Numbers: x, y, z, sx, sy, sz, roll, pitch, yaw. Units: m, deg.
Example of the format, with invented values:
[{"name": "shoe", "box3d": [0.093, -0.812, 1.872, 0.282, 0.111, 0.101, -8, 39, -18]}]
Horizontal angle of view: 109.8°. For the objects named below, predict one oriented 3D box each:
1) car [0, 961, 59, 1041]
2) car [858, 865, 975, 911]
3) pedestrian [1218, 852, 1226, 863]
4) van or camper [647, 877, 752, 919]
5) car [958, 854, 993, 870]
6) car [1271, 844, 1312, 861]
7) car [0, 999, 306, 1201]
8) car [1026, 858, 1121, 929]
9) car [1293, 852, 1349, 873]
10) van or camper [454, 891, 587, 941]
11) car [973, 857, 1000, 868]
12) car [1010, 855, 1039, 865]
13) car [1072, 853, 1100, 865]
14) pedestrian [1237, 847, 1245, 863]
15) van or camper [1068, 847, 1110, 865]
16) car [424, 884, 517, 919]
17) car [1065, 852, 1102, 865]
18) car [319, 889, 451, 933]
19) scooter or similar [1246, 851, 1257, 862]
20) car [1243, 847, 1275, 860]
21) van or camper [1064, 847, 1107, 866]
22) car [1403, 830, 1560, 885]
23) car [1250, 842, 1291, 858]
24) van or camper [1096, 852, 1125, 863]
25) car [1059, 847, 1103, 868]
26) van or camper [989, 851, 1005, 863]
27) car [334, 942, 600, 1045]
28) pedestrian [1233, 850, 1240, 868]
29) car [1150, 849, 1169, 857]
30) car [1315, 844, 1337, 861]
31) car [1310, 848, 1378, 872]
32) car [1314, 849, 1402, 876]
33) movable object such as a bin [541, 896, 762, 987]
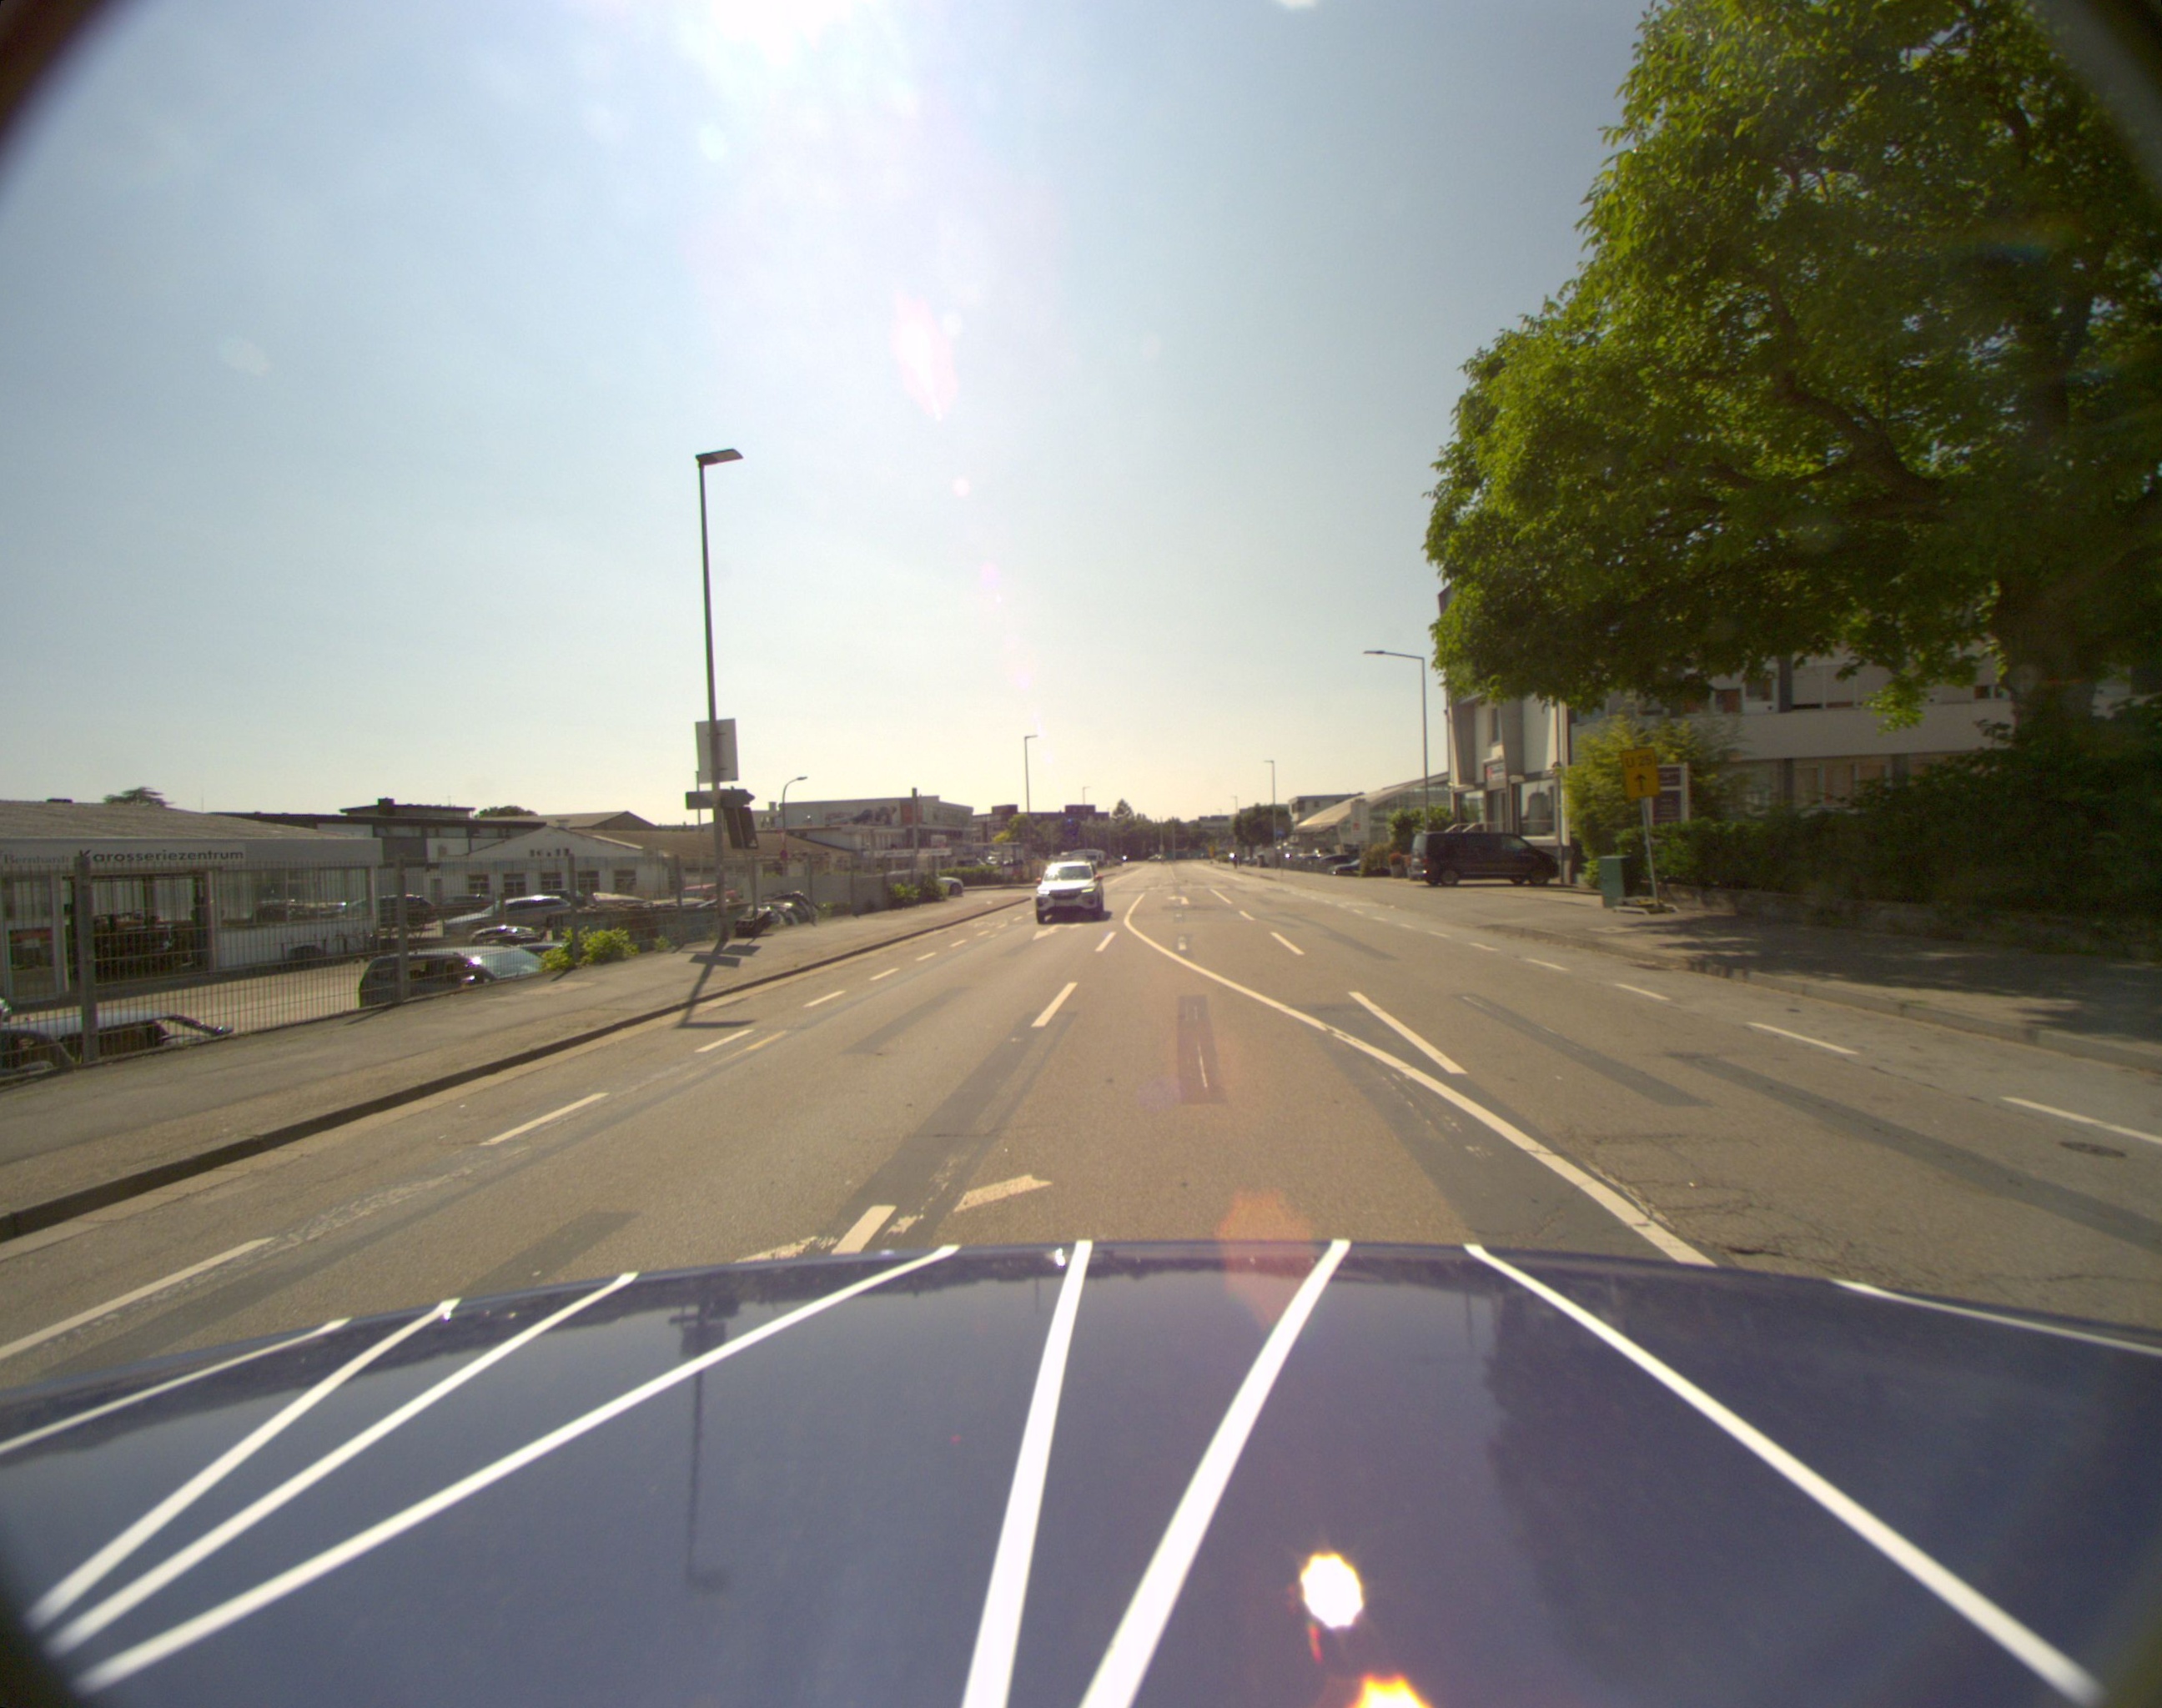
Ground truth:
[{"name": "car", "box3d": [-26.486, 3.472, 17.229, 3.996, 1.653, 2.000, -1, 3, 4]}, {"name": "car", "box3d": [-6.755, 1.390, 31.689, 1.953, 1.351, 4.504, -6, 0, 36]}, {"name": "pedestrian", "box3d": [22.822, 0.561, 122.936, 0.995, 1.676, 0.800, -2, 1, 18]}, {"name": "van or camper", "box3d": [-16.343, 1.851, 32.840, 1.998, 1.343, 4.230, -8, -1, 5]}, {"name": "car", "box3d": [-16.891, 1.262, 121.833, 5.309, 2.405, 2.326, -2, 0, 2]}, {"name": "car", "box3d": [22.869, -0.165, 82.517, 4.004, 1.541, 1.856, -3, 0, -24]}, {"name": "car", "box3d": [-13.628, 3.313, 10.420, 3.995, 2.002, 2.001, -5, 0, 6]}, {"name": "car", "box3d": [-0.095, 0.977, 20.129, 1.725, 1.476, 3.679, -4, 1, 11]}, {"name": "car", "box3d": [19.688, 0.664, 62.488, 3.996, 1.482, 1.859, -2, 3, 3]}, {"name": "van or camper", "box3d": [-24.534, 2.652, 33.410, 1.994, 1.535, 4.236, 3, 4, 33]}, {"name": "car", "box3d": [-15.805, 1.441, 127.533, 4.115, 1.723, 2.000, -2, 0, 3]}, {"name": "car", "box3d": [-9.505, 0.998, 127.057, 4.548, 1.668, 2.000, -2, 0, 3]}, {"name": "car", "box3d": [0.719, 0.777, 109.619, 3.930, 1.584, 1.799, -2, 0, 6]}, {"name": "pedestrian", "box3d": [18.397, 0.108, 87.576, 0.724, 1.838, 0.911, -2, 1, 3]}, {"name": "van or camper", "box3d": [1.351, 0.296, 120.715, 6.362, 2.700, 2.713, -2, 0, 6]}, {"name": "car", "box3d": [-36.988, 2.851, 46.091, 3.996, 1.783, 2.000, -3, 0, 3]}, {"name": "car", "box3d": [0.422, 0.649, 112.469, 5.244, 1.940, 2.001, -1, 0, 6]}, {"name": "car", "box3d": [-31.236, 2.526, 34.183, 1.995, 1.637, 4.008, -4, -1, 36]}, {"name": "scooter or similar", "box3d": [19.554, 0.302, 87.173, 0.745, 1.240, 1.490, -3, 0, -1]}, {"name": "car", "box3d": [23.503, -0.049, 100.254, 4.167, 1.451, 1.903, -4, 0, -36]}, {"name": "van or camper", "box3d": [0.763, 0.355, 118.016, 6.362, 2.684, 2.713, -2, 0, 6]}, {"name": "car", "box3d": [14.346, 0.130, 27.465, 4.575, 1.854, 2.094, -1, 0, 7]}, {"name": "car", "box3d": [22.214, -0.455, 89.135, 4.586, 1.686, 1.855, -3, 0, -29]}, {"name": "van or camper", "box3d": [5.490, 0.605, 141.742, 5.142, 1.950, 1.982, -1, 1, -24]}, {"name": "car", "box3d": [0.030, 0.520, 115.125, 6.240, 2.853, 2.321, -2, 0, 7]}, {"name": "van or camper", "box3d": [-14.657, 0.442, 133.025, 2.122, 2.002, 5.115, -2, 0, 1]}, {"name": "car", "box3d": [-12.735, 2.868, 15.936, 3.995, 1.641, 2.001, -3, 1, 5]}, {"name": "pedestrian", "box3d": [16.847, 0.525, 82.267, 0.733, 1.857, 1.048, -2, 0, 12]}, {"name": "car", "box3d": [19.400, -0.323, 187.120, 3.990, 1.696, 2.003, -4, 0, 28]}, {"name": "car", "box3d": [26.219, -0.160, 81.528, 1.996, 1.674, 4.004, -2, 0, 15]}, {"name": "car", "box3d": [19.088, 0.414, 55.319, 4.306, 1.549, 1.996, -2, 0, 3]}, {"name": "car", "box3d": [17.215, 0.519, 47.438, 4.749, 1.472, 2.049, -2, 0, 5]}, {"name": "movable object such as a bin", "box3d": [-12.113, 2.450, 21.624, 5.126, 2.002, 2.001, -5, 0, 6]}]
